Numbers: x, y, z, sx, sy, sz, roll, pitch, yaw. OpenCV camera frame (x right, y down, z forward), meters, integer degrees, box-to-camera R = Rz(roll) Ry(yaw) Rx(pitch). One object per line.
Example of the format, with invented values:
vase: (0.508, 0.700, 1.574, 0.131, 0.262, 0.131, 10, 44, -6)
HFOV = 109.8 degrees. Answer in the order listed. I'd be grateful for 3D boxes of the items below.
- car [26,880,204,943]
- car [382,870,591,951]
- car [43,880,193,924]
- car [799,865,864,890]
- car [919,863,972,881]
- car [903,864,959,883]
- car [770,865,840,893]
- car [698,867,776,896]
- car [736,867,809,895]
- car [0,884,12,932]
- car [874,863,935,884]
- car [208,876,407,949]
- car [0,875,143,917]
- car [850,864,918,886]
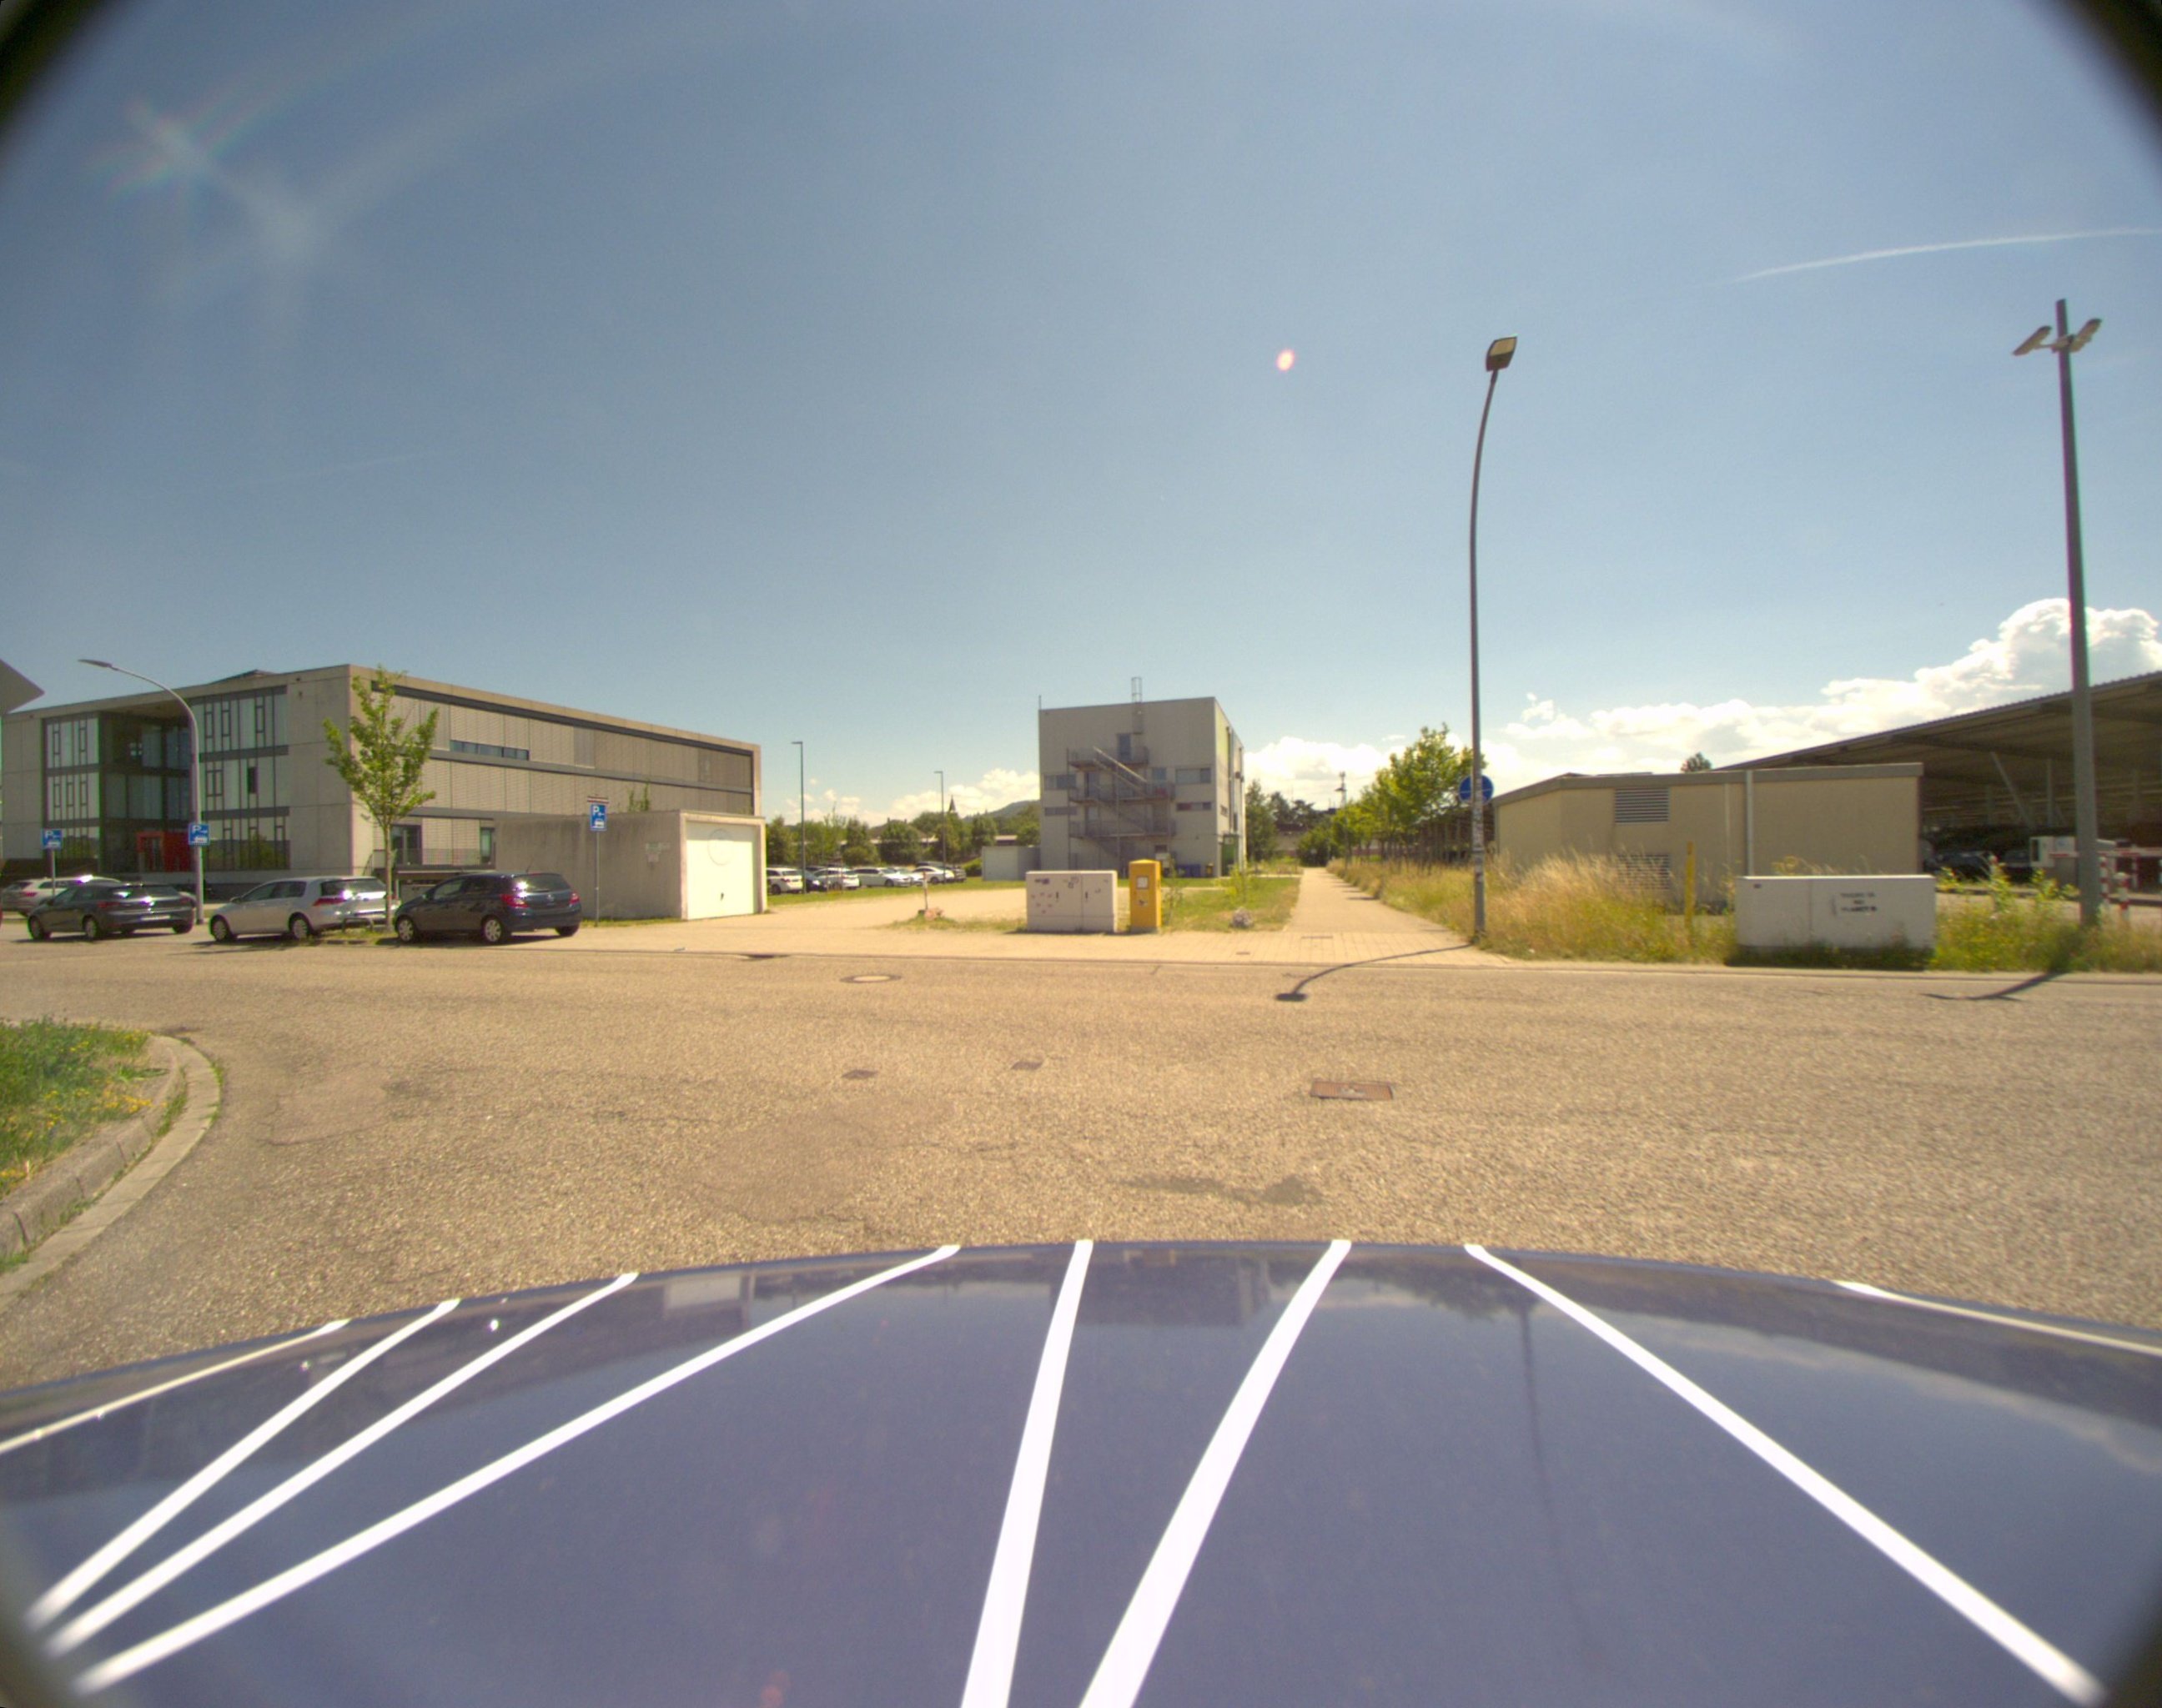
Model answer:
car: (-25.499, 1.485, 20.086, 3.620, 1.461, 1.660, -1, 2, 18)
car: (-12.641, 1.170, 16.212, 3.620, 1.492, 1.685, -1, 2, 18)
car: (-40.225, 1.961, 31.885, 1.658, 1.461, 3.626, -2, 2, -4)
car: (-15.838, 1.485, 48.307, 3.620, 1.492, 1.661, -1, 0, 18)
car: (-11.414, 1.515, 64.136, 4.048, 1.379, 1.661, -1, 0, 18)
car: (-11.968, 1.527, 60.736, 4.048, 1.417, 1.661, -1, 0, 18)
car: (-16.577, 1.492, 45.625, 3.620, 1.526, 1.661, -1, 0, 18)
car: (-18.584, 1.476, 41.089, 3.620, 1.492, 1.661, -1, 0, 18)
car: (-17.620, 1.518, 43.425, 3.620, 1.492, 1.661, -1, 0, 18)
car: (-35.276, 1.746, 23.382, 3.620, 1.461, 1.660, -1, 2, 18)
car: (-13.020, 1.460, 55.996, 4.048, 1.458, 1.661, -1, 0, 18)
car: (-18.132, 1.338, 17.859, 3.621, 1.492, 1.660, -1, 2, 16)
car: (-43.395, 1.755, 32.647, 1.658, 1.461, 3.626, -2, 2, -4)
car: (-13.922, 1.481, 53.681, 4.362, 1.458, 1.711, -1, 0, 18)
